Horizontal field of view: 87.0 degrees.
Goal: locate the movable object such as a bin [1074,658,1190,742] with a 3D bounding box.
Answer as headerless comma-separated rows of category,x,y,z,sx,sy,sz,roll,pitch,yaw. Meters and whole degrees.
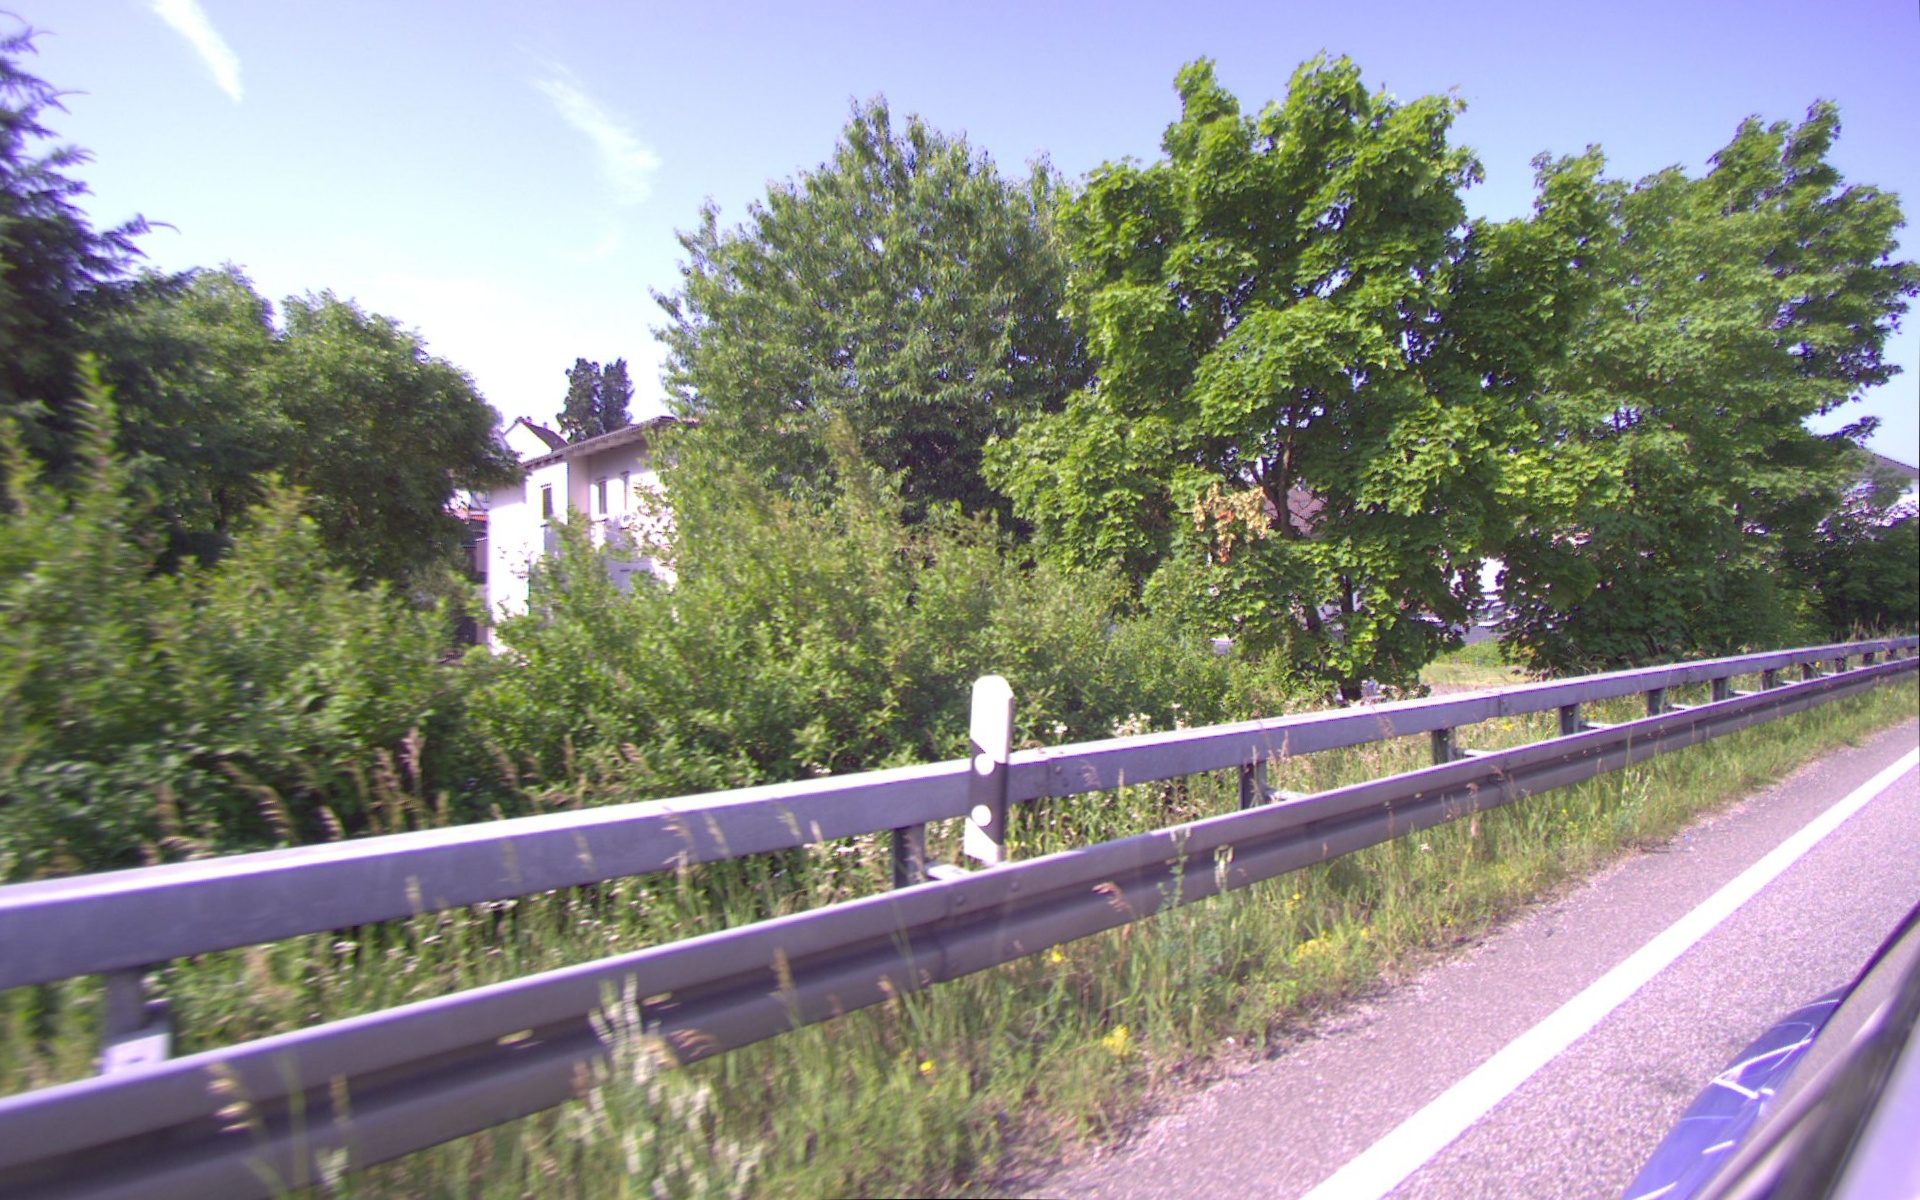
movable object such as a bin,4.671,2.674,27.713,1.558,2.039,2.790,0,-1,-38

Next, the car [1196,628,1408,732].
car,10.725,2.376,32.239,2.272,2.720,6.088,-4,2,-37
